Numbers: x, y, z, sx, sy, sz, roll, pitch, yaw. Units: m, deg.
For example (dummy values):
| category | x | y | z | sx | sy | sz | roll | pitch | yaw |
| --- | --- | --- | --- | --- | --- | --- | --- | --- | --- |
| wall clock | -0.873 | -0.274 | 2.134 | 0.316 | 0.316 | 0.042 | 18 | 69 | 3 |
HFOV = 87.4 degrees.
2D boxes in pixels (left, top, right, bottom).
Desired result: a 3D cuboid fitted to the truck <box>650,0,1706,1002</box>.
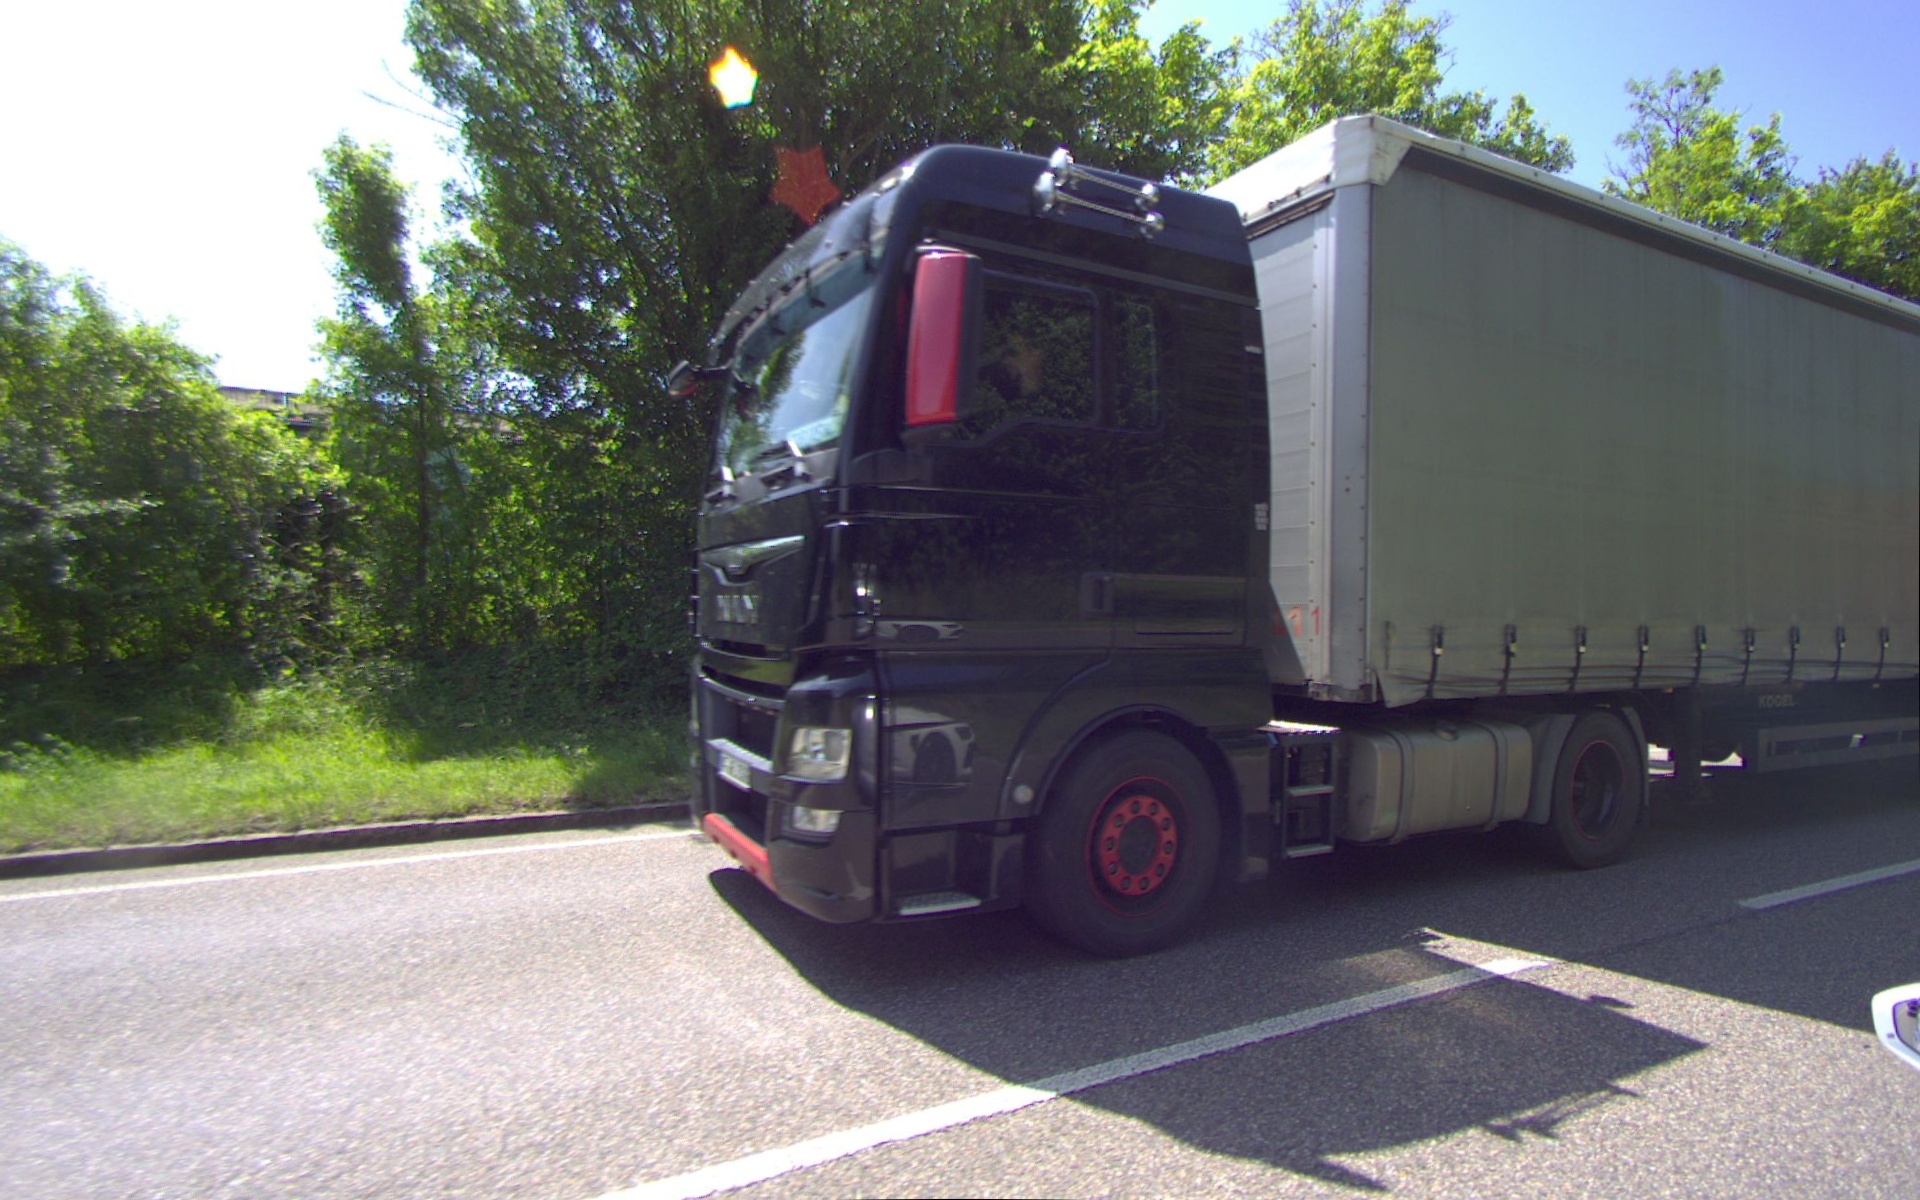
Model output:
| category | x | y | z | sx | sy | sz | roll | pitch | yaw |
| --- | --- | --- | --- | --- | --- | --- | --- | --- | --- |
| truck | 1.387 | -0.596 | 6.249 | 5.843 | 4.238 | 2.911 | 2 | 0 | -27 |

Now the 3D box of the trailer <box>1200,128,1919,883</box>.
| category | x | y | z | sx | sy | sz | roll | pitch | yaw |
| --- | --- | --- | --- | --- | --- | --- | --- | --- | --- |
| trailer | 7.601 | -0.355 | 9.513 | 11.121 | 4.238 | 2.910 | 2 | 0 | -28 |
